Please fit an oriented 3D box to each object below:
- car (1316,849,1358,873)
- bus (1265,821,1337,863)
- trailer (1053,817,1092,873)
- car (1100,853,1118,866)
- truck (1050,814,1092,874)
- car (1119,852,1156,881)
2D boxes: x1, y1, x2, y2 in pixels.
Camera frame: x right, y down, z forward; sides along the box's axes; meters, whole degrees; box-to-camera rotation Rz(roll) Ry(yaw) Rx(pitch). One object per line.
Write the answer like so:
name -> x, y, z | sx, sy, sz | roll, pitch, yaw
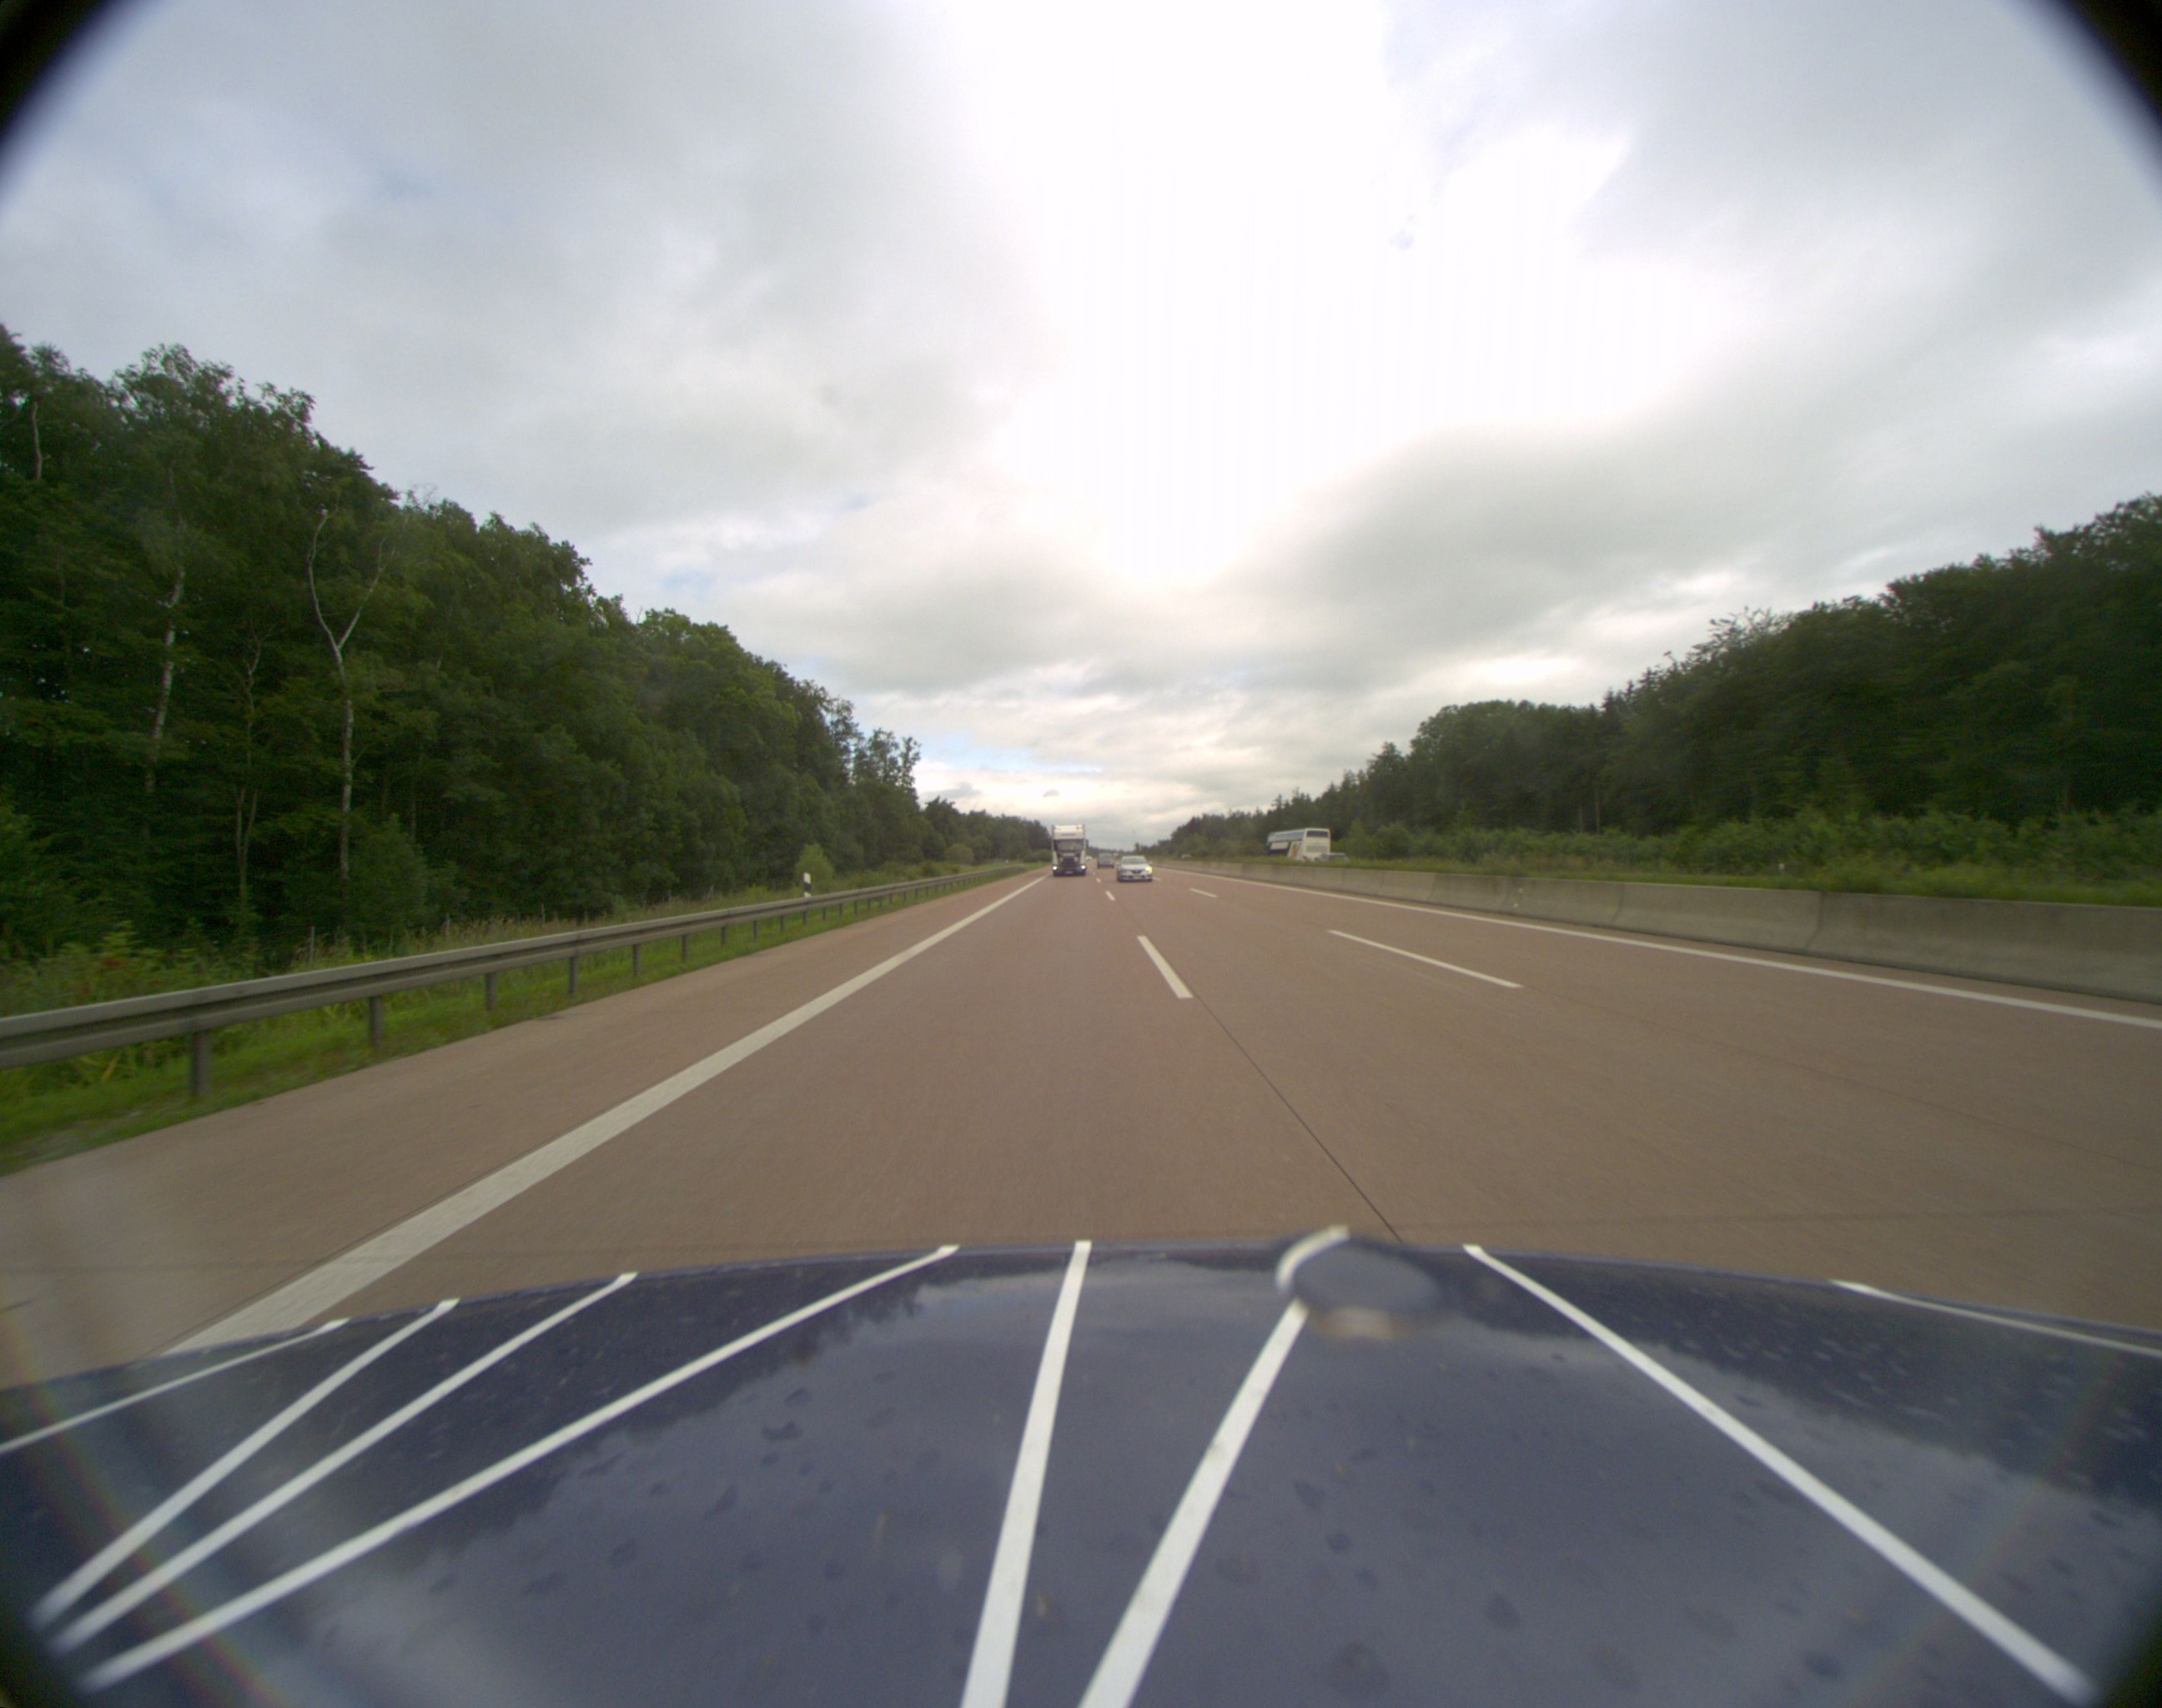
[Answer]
car -> 18.627, 0.483, 55.470 | 1.738, 1.608, 4.000 | -2, 0, 1
bus -> 22.428, -1.168, 78.609 | 3.056, 3.866, 14.360 | -2, 0, 0
trailer -> -0.672, -0.734, 66.089 | 2.929, 4.269, 13.612 | -2, 0, 0
car -> 3.339, 0.645, 89.911 | 1.986, 1.499, 4.052 | -2, 0, 1
truck -> -0.717, -0.731, 58.090 | 2.929, 4.269, 5.334 | -2, 0, 0
car -> 3.160, 0.673, 42.881 | 1.923, 1.515, 4.001 | -2, 0, 2
